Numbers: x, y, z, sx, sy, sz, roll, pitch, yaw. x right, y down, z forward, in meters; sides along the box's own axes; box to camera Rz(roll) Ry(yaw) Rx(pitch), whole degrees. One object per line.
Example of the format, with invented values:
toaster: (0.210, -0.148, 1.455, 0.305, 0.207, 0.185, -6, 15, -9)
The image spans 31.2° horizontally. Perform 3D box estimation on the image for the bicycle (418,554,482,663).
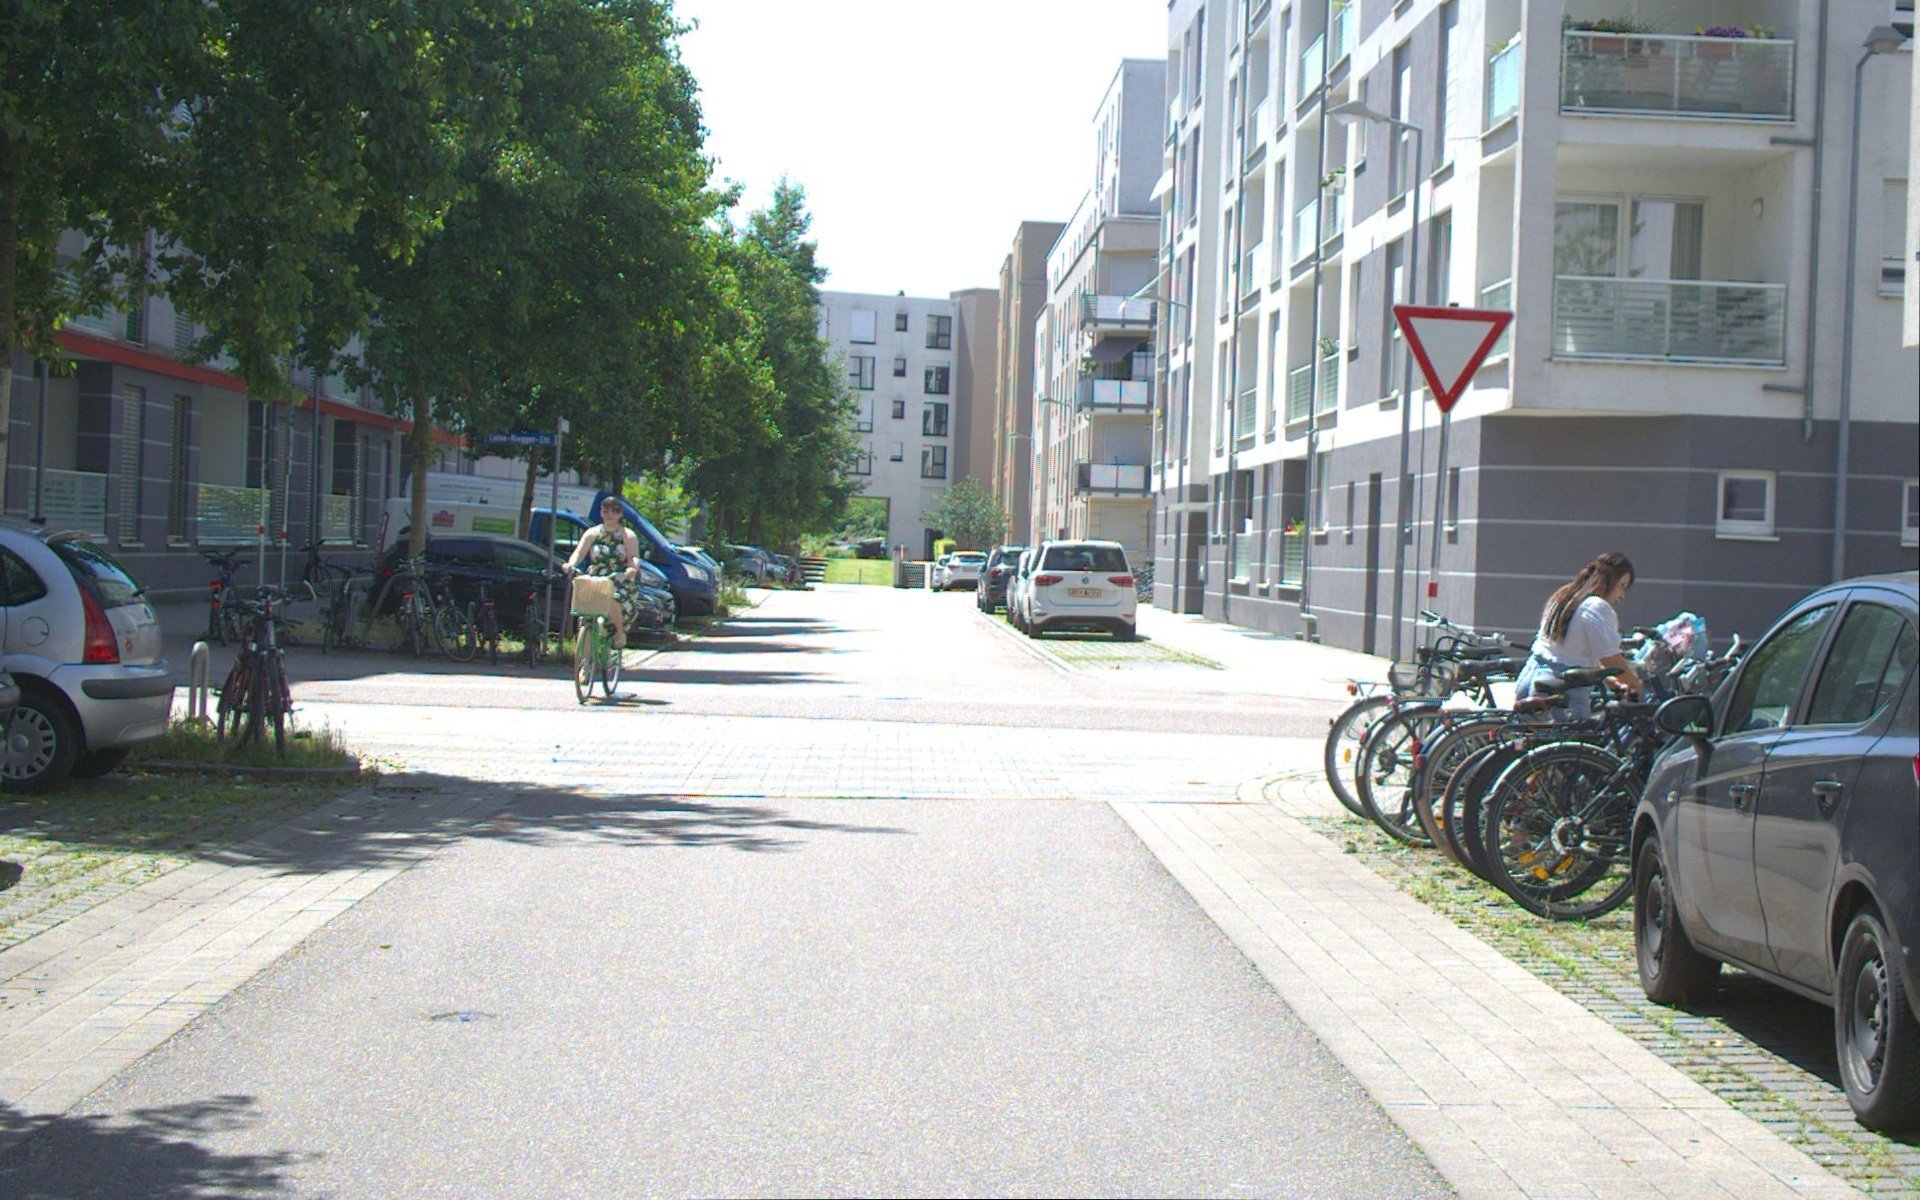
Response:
bicycle: (-5.994, 0.090, 40.457, 0.434, 1.200, 1.700, 4, 2, -1)

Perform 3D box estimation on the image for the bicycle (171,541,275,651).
bicycle: (-8.622, -0.067, 40.298, 0.689, 1.166, 2.223, 4, 2, -1)

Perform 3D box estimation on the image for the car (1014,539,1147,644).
car: (1.989, -0.175, 57.874, 1.997, 1.651, 4.115, 1, 1, -1)

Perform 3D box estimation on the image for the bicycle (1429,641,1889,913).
bicycle: (2.997, 0.753, 14.837, 1.786, 1.100, 0.747, 1, 1, -5)

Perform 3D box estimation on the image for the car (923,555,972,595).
car: (-0.557, -1.127, 153.744, 1.993, 1.711, 4.001, 2, 1, -2)

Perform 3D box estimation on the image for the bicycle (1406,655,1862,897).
bicycle: (3.031, 0.790, 15.533, 1.923, 1.031, 0.559, 1, 1, -5)

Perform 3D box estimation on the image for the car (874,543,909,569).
car: (-4.199, -2.677, 209.876, 1.993, 1.514, 4.001, 2, 1, -2)

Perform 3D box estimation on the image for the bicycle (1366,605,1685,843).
bicycle: (3.019, 0.654, 18.430, 1.550, 1.213, 0.708, 1, 1, -3)

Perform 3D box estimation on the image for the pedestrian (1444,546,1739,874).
pedestrian: (2.988, 0.511, 16.318, 1.178, 1.509, 0.688, 1, 1, -11)

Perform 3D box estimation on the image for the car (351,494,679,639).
car: (-7.414, -0.577, 57.735, 5.145, 2.112, 2.312, 3, 1, -1)

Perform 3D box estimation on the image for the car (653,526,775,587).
car: (-8.723, -1.530, 121.993, 3.988, 2.007, 2.000, 2, 1, 6)

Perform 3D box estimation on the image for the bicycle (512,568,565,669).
bicycle: (-4.977, 0.208, 40.685, 0.466, 1.138, 1.926, 2, 1, -3)

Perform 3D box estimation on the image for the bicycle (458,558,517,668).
bicycle: (-5.561, 0.137, 40.457, 0.570, 1.170, 1.769, 5, 2, -8)

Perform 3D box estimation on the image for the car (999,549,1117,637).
car: (1.781, -0.149, 63.574, 1.993, 1.519, 4.000, 1, 1, -1)

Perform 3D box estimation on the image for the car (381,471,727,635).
car: (-7.399, -0.859, 63.164, 6.023, 2.806, 2.605, 1, 1, -1)

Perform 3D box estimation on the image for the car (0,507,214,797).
car: (-6.261, 0.184, 19.440, 3.630, 1.515, 1.832, 4, 1, -1)

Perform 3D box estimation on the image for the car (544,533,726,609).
car: (-7.565, -0.691, 80.371, 3.987, 1.612, 2.000, 2, 1, 1)

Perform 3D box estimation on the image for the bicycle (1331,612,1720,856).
bicycle: (2.903, 0.675, 17.747, 1.924, 1.175, 0.638, 1, 1, 8)

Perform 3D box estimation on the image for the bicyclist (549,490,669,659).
bicyclist: (-3.116, -0.227, 30.584, 0.953, 1.454, 0.800, 2, 1, -2)

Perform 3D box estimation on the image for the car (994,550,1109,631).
car: (1.790, -0.217, 68.404, 1.993, 1.519, 4.000, 1, 1, -2)

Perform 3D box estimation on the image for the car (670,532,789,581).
car: (-8.360, -1.582, 124.754, 3.988, 1.597, 2.000, 2, 1, 5)

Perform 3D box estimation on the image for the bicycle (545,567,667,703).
bicycle: (-3.125, 0.291, 30.497, 0.898, 1.125, 2.040, 2, 1, -2)

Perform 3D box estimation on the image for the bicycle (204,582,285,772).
bicycle: (-4.582, 0.466, 21.957, 0.433, 1.124, 1.979, 1, 1, -13)

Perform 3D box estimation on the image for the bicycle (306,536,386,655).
bicycle: (-7.221, -0.073, 40.483, 0.593, 1.327, 1.812, 2, 2, 0)

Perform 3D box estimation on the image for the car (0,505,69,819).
car: (-6.697, 0.252, 17.160, 3.987, 1.549, 1.800, 1, 1, 1)

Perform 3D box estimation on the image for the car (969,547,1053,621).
car: (1.188, -0.386, 77.976, 1.757, 1.547, 4.000, 3, 1, 2)

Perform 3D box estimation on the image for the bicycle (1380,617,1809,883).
bicycle: (2.984, 0.705, 16.193, 1.923, 1.213, 0.461, 1, 1, -10)

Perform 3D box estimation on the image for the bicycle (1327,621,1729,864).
bicycle: (2.817, 0.696, 17.140, 1.924, 1.129, 0.609, 1, 1, 8)

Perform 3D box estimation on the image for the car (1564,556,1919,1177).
car: (3.132, 0.636, 10.444, 1.738, 1.480, 4.229, 1, 1, -1)

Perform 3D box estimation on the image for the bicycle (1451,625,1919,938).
bicycle: (3.025, 0.732, 14.091, 1.869, 1.213, 0.715, 1, 1, -5)

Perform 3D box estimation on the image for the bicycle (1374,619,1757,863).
bicycle: (2.959, 0.679, 16.776, 1.833, 1.144, 0.461, 1, 1, -20)

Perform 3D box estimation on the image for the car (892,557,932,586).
car: (-2.632, -1.590, 189.034, 1.993, 1.514, 4.000, 2, 1, 1)

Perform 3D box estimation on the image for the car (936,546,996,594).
car: (0.208, -1.122, 126.519, 1.993, 1.669, 4.001, 2, 1, -2)

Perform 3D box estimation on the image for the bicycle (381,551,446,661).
bicycle: (-6.463, 0.058, 40.703, 0.518, 1.200, 1.752, 4, 2, -3)

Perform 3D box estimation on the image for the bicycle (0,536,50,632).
bicycle: (-11.407, -0.206, 41.633, 0.606, 1.103, 2.107, 2, 1, -12)

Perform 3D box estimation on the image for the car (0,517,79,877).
car: (-6.054, 0.299, 14.524, 4.180, 1.481, 1.959, 3, 0, -5)

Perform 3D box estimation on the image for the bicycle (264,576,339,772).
bicycle: (-4.220, 0.449, 21.990, 0.371, 1.176, 1.821, 1, 1, -13)

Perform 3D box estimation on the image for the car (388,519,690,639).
car: (-6.480, -0.336, 53.288, 4.383, 1.536, 1.878, 4, 1, -1)

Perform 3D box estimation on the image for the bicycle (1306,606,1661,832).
bicycle: (2.893, 0.651, 19.138, 1.859, 1.189, 0.687, 1, 1, 2)

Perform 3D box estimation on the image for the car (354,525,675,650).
car: (-6.499, -0.196, 50.564, 4.383, 1.509, 2.075, 4, 1, -1)

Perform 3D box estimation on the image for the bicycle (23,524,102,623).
bicycle: (-11.542, -0.352, 44.257, 0.551, 1.236, 1.925, 1, 1, -2)
